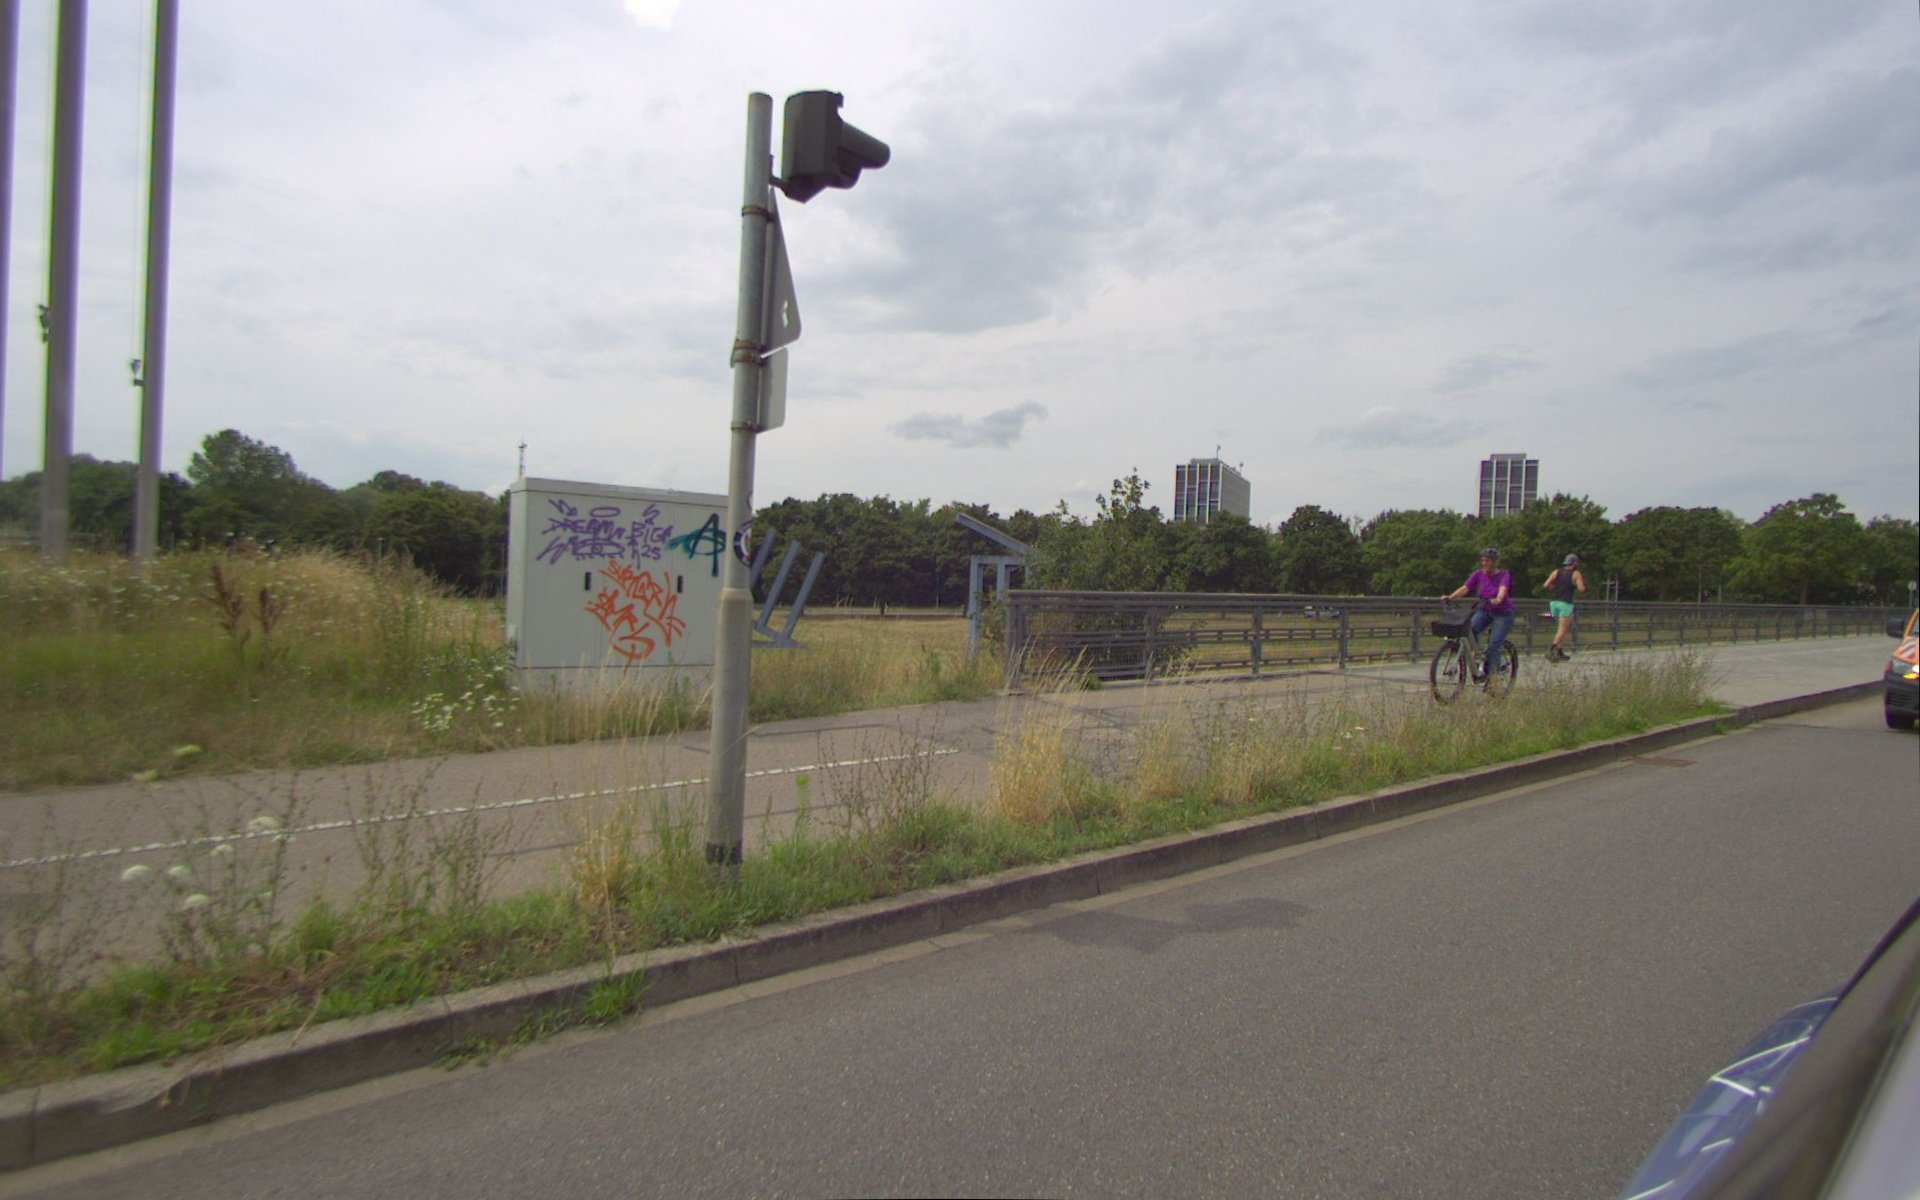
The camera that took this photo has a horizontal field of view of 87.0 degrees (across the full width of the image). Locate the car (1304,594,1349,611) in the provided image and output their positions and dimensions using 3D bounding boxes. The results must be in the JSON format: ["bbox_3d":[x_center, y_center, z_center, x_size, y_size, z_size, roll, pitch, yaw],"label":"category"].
[{"bbox_3d":[45.745,0.305,126.334,4.877,1.825,1.972,2,1,38],"label":"car"}]

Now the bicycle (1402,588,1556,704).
[{"bbox_3d":[6.067,0.496,11.750,2.417,1.207,0.695,1,2,-41],"label":"bicycle"}]

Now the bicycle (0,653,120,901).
[{"bbox_3d":[-4.430,0.705,3.674,2.117,0.899,0.624,0,1,-41],"label":"bicycle"}]

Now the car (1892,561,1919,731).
[{"bbox_3d":[12.610,0.546,11.912,4.351,1.859,1.891,1,0,-40],"label":"car"}]

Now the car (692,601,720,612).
[{"bbox_3d":[-38.965,1.004,155.137,3.918,1.415,2.003,2,0,-8],"label":"car"}]

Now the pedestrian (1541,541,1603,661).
[{"bbox_3d":[10.753,0.014,17.797,0.656,2.038,0.629,2,2,-39],"label":"pedestrian"}]

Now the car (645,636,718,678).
[{"bbox_3d":[-18.697,3.792,67.814,4.620,2.460,1.979,2,0,29],"label":"car"}]

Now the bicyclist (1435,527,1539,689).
[{"bbox_3d":[6.092,0.079,11.698,0.974,1.777,0.704,1,1,-41],"label":"bicyclist"}]
